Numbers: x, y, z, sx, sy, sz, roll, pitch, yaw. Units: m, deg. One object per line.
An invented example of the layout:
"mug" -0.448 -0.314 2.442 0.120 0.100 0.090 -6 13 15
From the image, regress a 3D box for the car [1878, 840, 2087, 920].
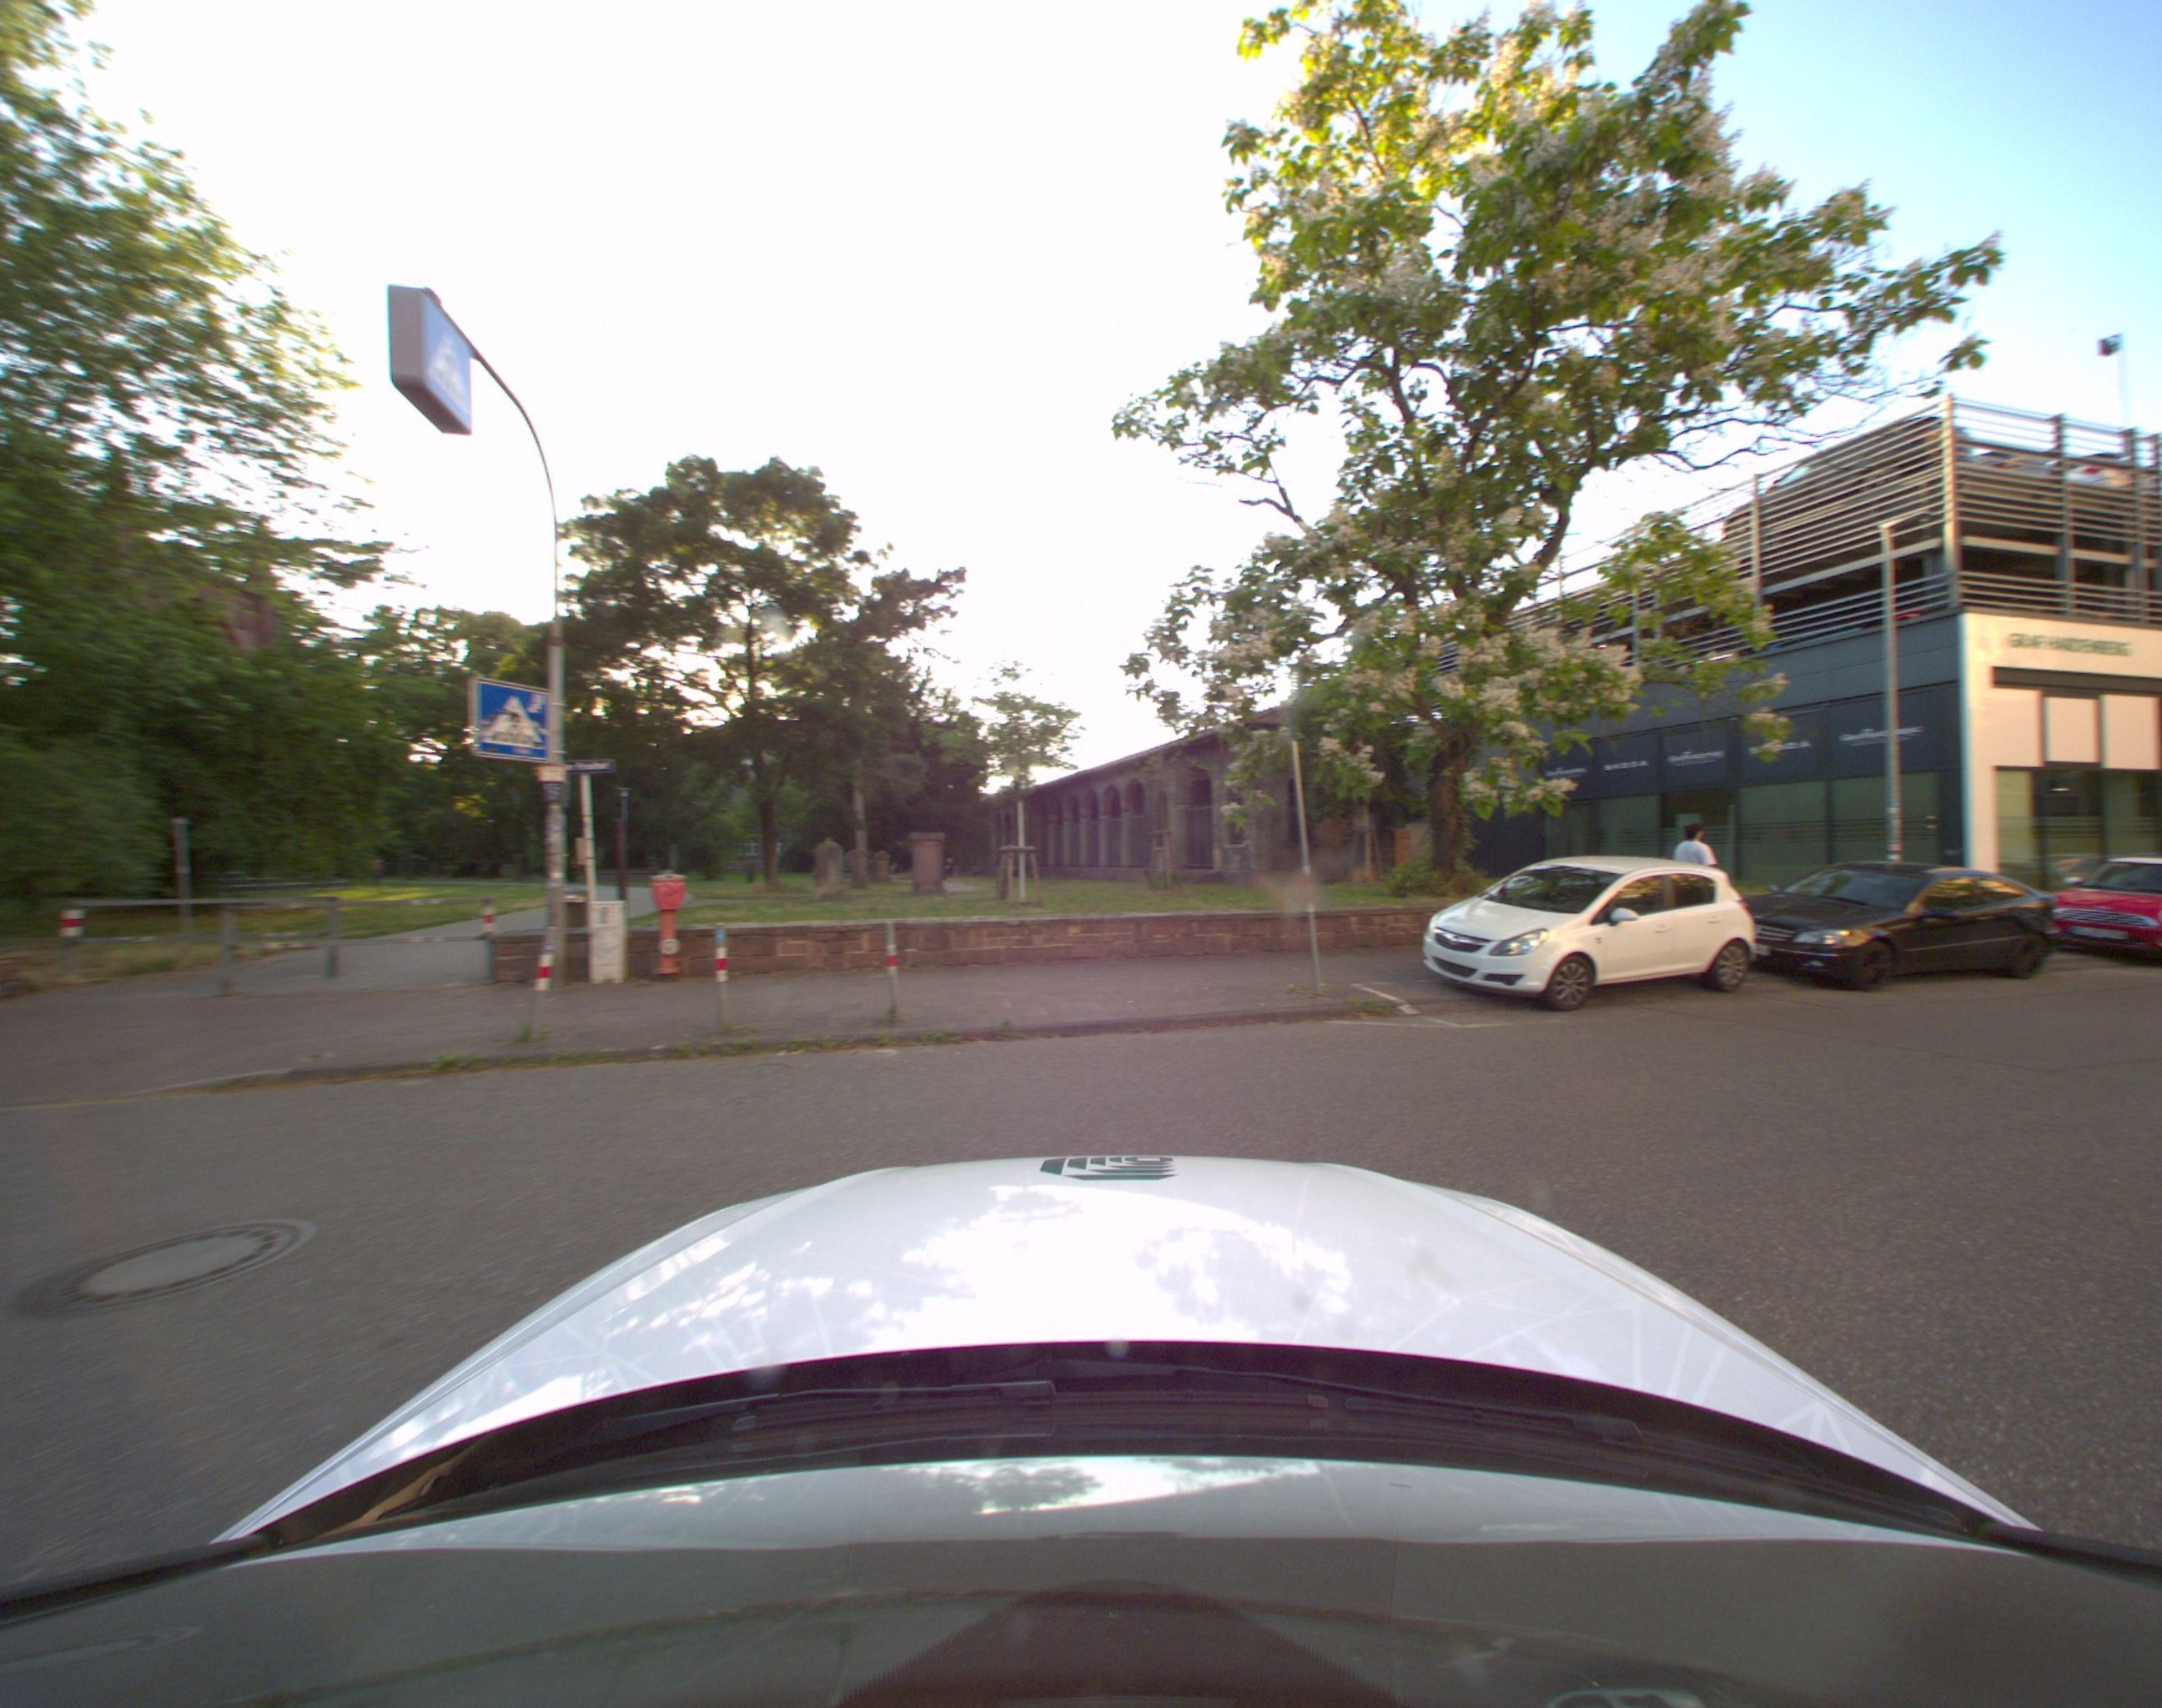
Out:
"car" 20.698 0.562 18.737 3.869 1.650 1.590 -1 -1 -14

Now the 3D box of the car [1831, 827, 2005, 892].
"car" 22.994 0.141 22.407 3.731 1.658 1.695 -1 -1 -14

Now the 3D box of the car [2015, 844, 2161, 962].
"car" 16.054 0.641 11.917 3.924 1.410 1.658 -1 4 -17

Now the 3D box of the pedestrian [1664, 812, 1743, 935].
"pedestrian" 9.848 0.293 12.898 0.619 1.878 0.720 -1 -1 -13

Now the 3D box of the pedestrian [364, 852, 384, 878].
"pedestrian" -45.518 0.724 52.411 0.662 1.669 0.668 0 0 0

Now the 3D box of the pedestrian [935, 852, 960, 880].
"pedestrian" -7.211 0.636 44.106 1.276 1.426 1.234 -2 -1 -8

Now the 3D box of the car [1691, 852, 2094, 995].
"car" 10.407 0.782 10.515 4.407 1.415 1.659 -1 5 -15

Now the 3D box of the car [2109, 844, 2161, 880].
"car" 40.233 0.287 30.183 3.207 1.255 1.418 -2 -1 -14

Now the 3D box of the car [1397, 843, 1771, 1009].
"car" 5.821 0.695 9.478 3.884 1.514 1.656 -1 3 -20
